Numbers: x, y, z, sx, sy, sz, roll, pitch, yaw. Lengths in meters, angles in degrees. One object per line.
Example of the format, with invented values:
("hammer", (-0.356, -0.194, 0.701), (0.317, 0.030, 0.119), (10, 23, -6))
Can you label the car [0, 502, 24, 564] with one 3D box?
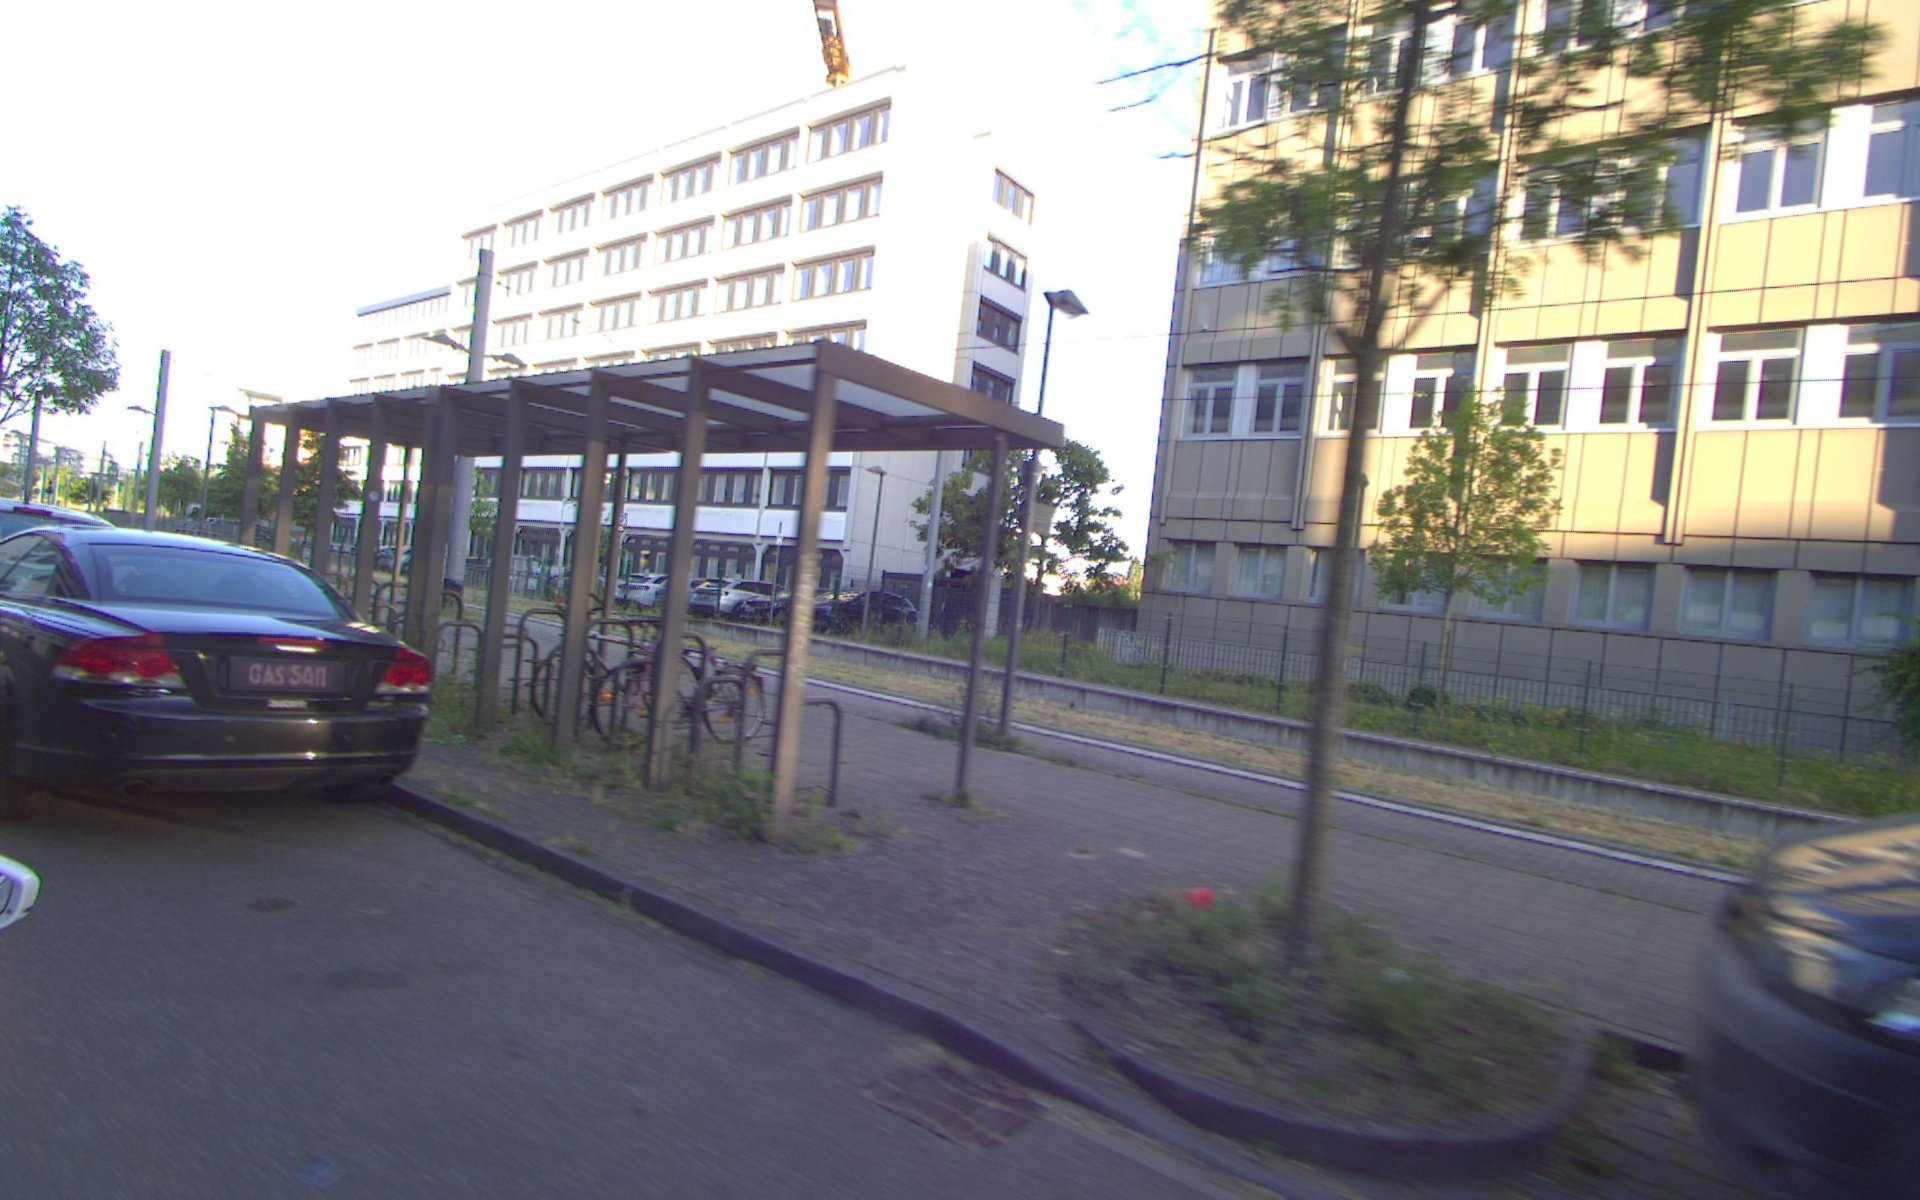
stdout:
("car", (-26.646, -1.995, 25.557), (1.704, 1.612, 4.005), (7, -3, 3))

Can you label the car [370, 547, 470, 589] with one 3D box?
("car", (-26.866, -1.587, 50.166), (1.568, 1.413, 3.990), (7, -3, 37))

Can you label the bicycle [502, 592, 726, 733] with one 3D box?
("bicycle", (-2.946, 0.549, 8.746), (0.480, 1.079, 1.804), (6, 0, 38))

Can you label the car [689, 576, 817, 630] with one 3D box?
("car", (-6.858, 0.138, 33.604), (1.651, 1.506, 3.980), (6, 1, 39))

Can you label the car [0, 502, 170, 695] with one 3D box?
("car", (-8.927, -0.173, 9.093), (4.123, 1.470, 1.676), (6, -1, 36))

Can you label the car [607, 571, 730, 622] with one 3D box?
("car", (-10.683, -0.095, 37.027), (1.797, 1.533, 3.983), (7, 1, 37))

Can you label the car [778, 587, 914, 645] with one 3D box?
("car", (-3.376, 0.514, 30.453), (1.651, 1.506, 3.980), (6, 1, 39))

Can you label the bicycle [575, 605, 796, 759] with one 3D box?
("bicycle", (-2.132, 0.648, 8.029), (0.415, 1.079, 1.718), (6, 0, 38))

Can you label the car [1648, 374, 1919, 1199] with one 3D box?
("car", (4.041, 0.843, 1.581), (4.666, 2.205, 1.802), (6, 2, 38))

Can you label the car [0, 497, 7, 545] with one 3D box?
("car", (-30.400, -2.490, 28.561), (1.836, 1.769, 4.608), (8, -2, 6))

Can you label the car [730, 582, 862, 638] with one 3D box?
("car", (-5.161, 0.352, 32.007), (1.651, 1.506, 3.980), (6, 1, 39))

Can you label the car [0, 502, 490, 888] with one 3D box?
("car", (-4.883, 0.265, 5.957), (4.445, 1.470, 1.787), (7, 0, 36))

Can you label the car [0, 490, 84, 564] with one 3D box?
("car", (-21.963, -1.730, 21.991), (1.891, 1.539, 4.001), (5, 0, 4))

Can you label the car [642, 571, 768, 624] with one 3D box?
("car", (-8.818, -0.057, 35.048), (1.651, 1.506, 3.980), (6, 1, 39))

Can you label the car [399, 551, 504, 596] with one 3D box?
("car", (-23.834, -1.227, 47.265), (1.568, 1.413, 3.990), (7, -3, 37))
